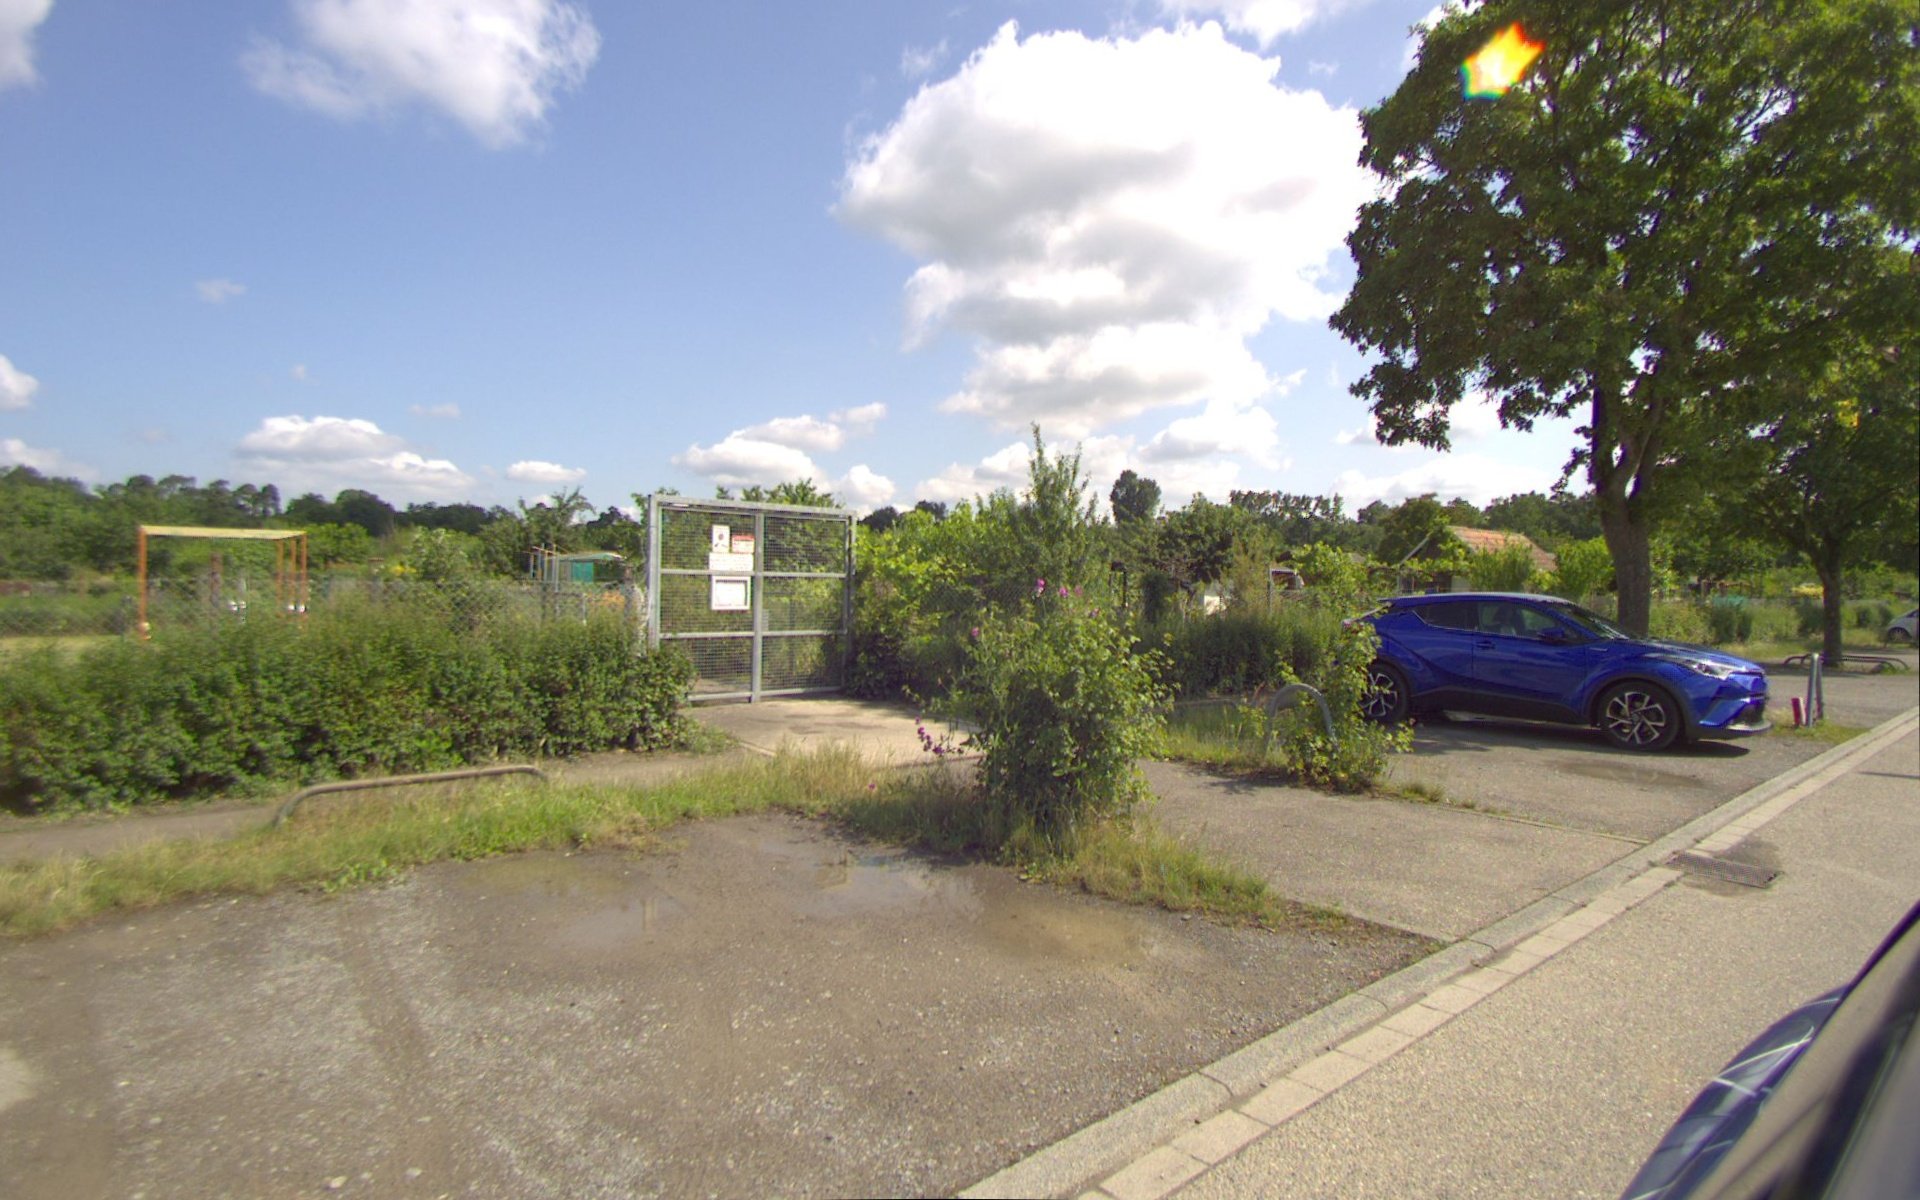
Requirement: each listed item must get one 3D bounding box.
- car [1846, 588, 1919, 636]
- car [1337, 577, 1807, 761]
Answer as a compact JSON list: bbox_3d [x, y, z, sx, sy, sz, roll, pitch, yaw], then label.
[{"bbox_3d":[35.672,0.429,37.575,1.965,1.772,3.926,-1,0,-40],"label":"car"},{"bbox_3d":[6.547,0.582,11.200,1.750,1.602,4.112,0,1,-41],"label":"car"}]
